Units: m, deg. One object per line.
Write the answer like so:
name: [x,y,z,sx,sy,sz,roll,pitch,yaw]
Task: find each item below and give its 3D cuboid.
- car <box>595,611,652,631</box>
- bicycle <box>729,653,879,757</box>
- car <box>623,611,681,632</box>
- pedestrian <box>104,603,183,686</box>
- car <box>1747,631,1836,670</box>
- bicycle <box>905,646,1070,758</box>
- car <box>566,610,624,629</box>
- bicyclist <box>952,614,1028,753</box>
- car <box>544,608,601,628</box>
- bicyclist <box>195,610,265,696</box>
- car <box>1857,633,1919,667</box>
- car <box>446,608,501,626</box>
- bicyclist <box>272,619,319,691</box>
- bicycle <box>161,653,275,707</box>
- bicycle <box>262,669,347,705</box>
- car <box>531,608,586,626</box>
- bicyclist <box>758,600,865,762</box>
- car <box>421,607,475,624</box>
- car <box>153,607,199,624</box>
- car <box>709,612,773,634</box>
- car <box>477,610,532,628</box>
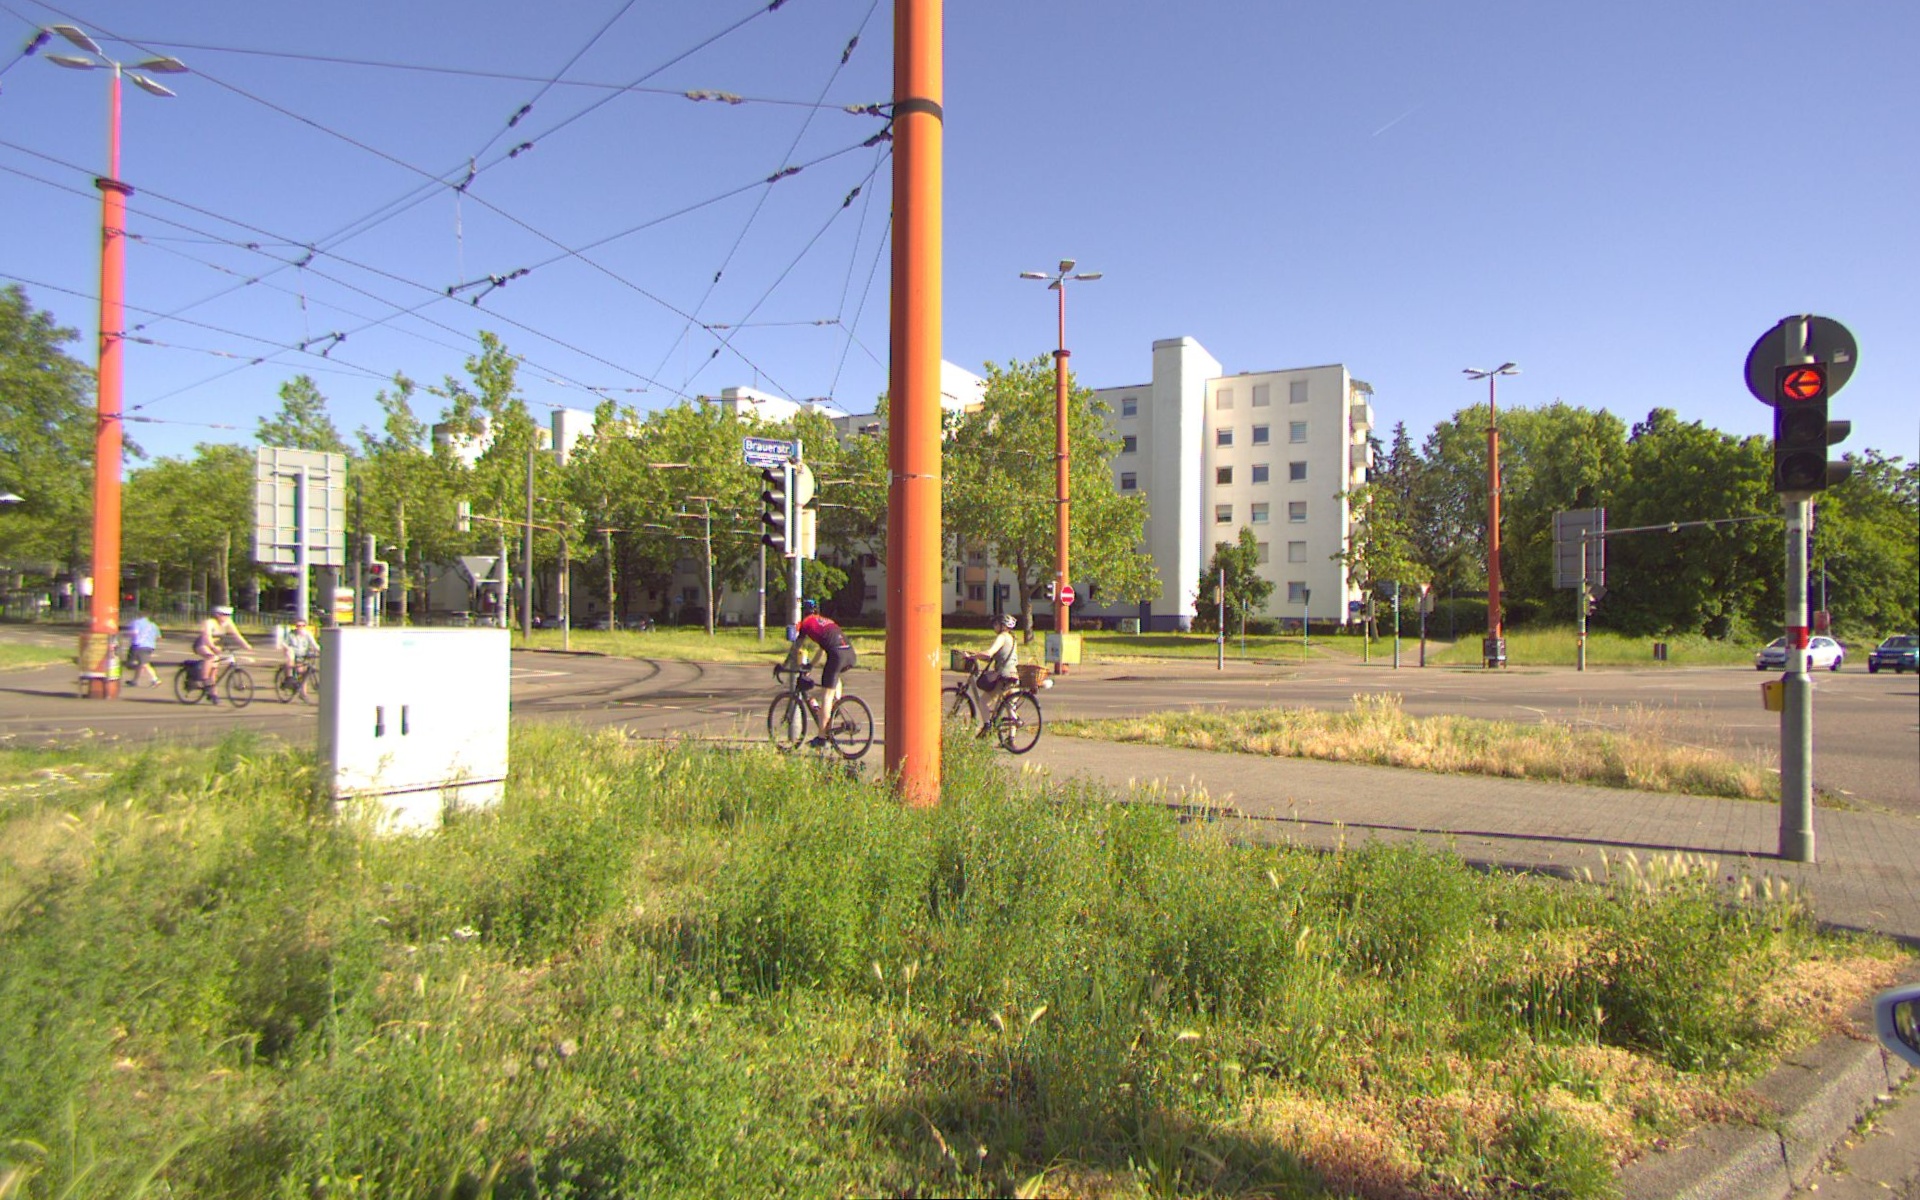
car: [-24.989,1.545,74.697,3.934,1.428,1.794,1,-1,-16]
bicycle: [-1.857,1.189,11.802,1.804,1.071,0.719,0,-1,40]
car: [-22.248,1.536,72.647,3.934,1.428,1.794,1,-1,-16]
pedestrian: [-18.423,0.990,22.676,0.968,1.817,0.955,1,-1,9]
car: [35.216,2.132,42.516,3.891,1.552,1.752,1,-1,-31]
bicycle: [0.315,1.186,12.146,1.915,1.210,0.690,0,-1,33]
car: [-27.570,1.474,75.922,3.934,1.428,1.794,1,-1,-16]
bicyclist: [0.366,0.979,12.119,0.651,1.605,0.671,0,-1,33]
car: [-30.069,1.406,78.076,3.934,1.428,1.794,1,-1,-16]
bicyclist: [-13.764,0.989,18.946,0.752,1.565,0.732,1,-1,-1]
car: [37.163,1.954,39.622,3.571,1.260,1.730,1,-1,-31]
car: [-41.427,1.473,85.627,3.935,1.428,1.794,1,-1,-17]
bicyclist: [-13.181,1.090,19.935,0.616,1.399,0.443,1,-1,-1]
bicycle: [-13.980,1.498,18.957,1.612,0.974,0.685,1,-1,-1]
bicycle: [-12.983,1.713,19.911,1.393,0.668,0.435,1,-1,1]
car: [-31.930,1.356,79.973,3.935,1.428,1.794,1,-1,-17]
bicyclist: [-1.706,0.893,11.551,0.981,1.764,0.734,0,-1,37]
car: [-44.782,1.374,87.897,3.935,1.428,1.794,1,-1,-17]
car: [-93.981,1.864,120.458,1.969,2.040,3.984,0,-1,38]
car: [-14.535,1.540,66.843,1.770,1.428,3.987,0,-1,35]
car: [-38.024,1.555,83.885,3.935,1.428,1.794,1,-1,-17]
